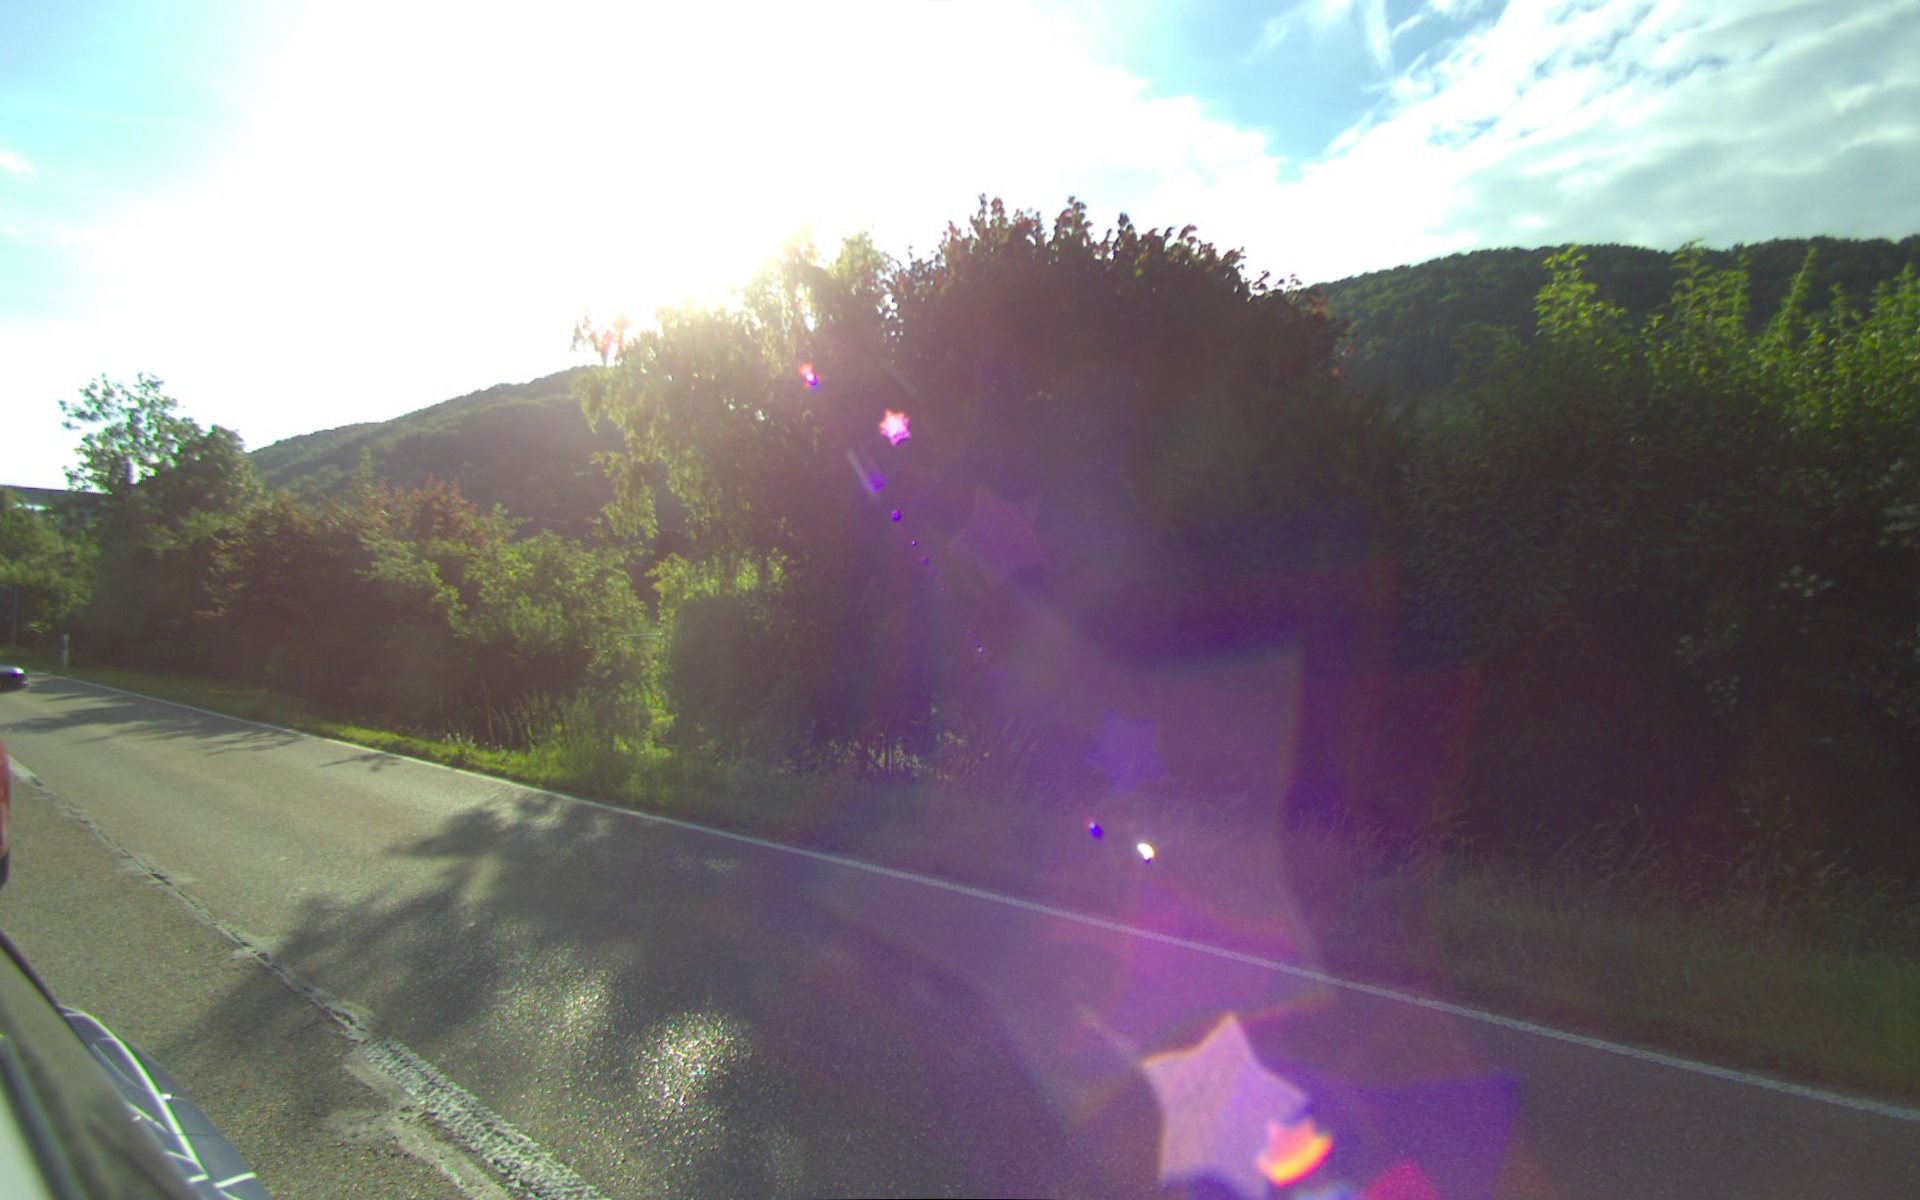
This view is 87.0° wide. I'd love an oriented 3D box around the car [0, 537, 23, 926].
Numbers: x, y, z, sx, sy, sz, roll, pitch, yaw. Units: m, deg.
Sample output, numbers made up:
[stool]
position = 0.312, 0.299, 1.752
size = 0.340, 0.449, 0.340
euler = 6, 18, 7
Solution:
[car]
position = -6.632, 0.659, 5.582
size = 4.287, 1.824, 1.730
euler = -1, 0, 42
